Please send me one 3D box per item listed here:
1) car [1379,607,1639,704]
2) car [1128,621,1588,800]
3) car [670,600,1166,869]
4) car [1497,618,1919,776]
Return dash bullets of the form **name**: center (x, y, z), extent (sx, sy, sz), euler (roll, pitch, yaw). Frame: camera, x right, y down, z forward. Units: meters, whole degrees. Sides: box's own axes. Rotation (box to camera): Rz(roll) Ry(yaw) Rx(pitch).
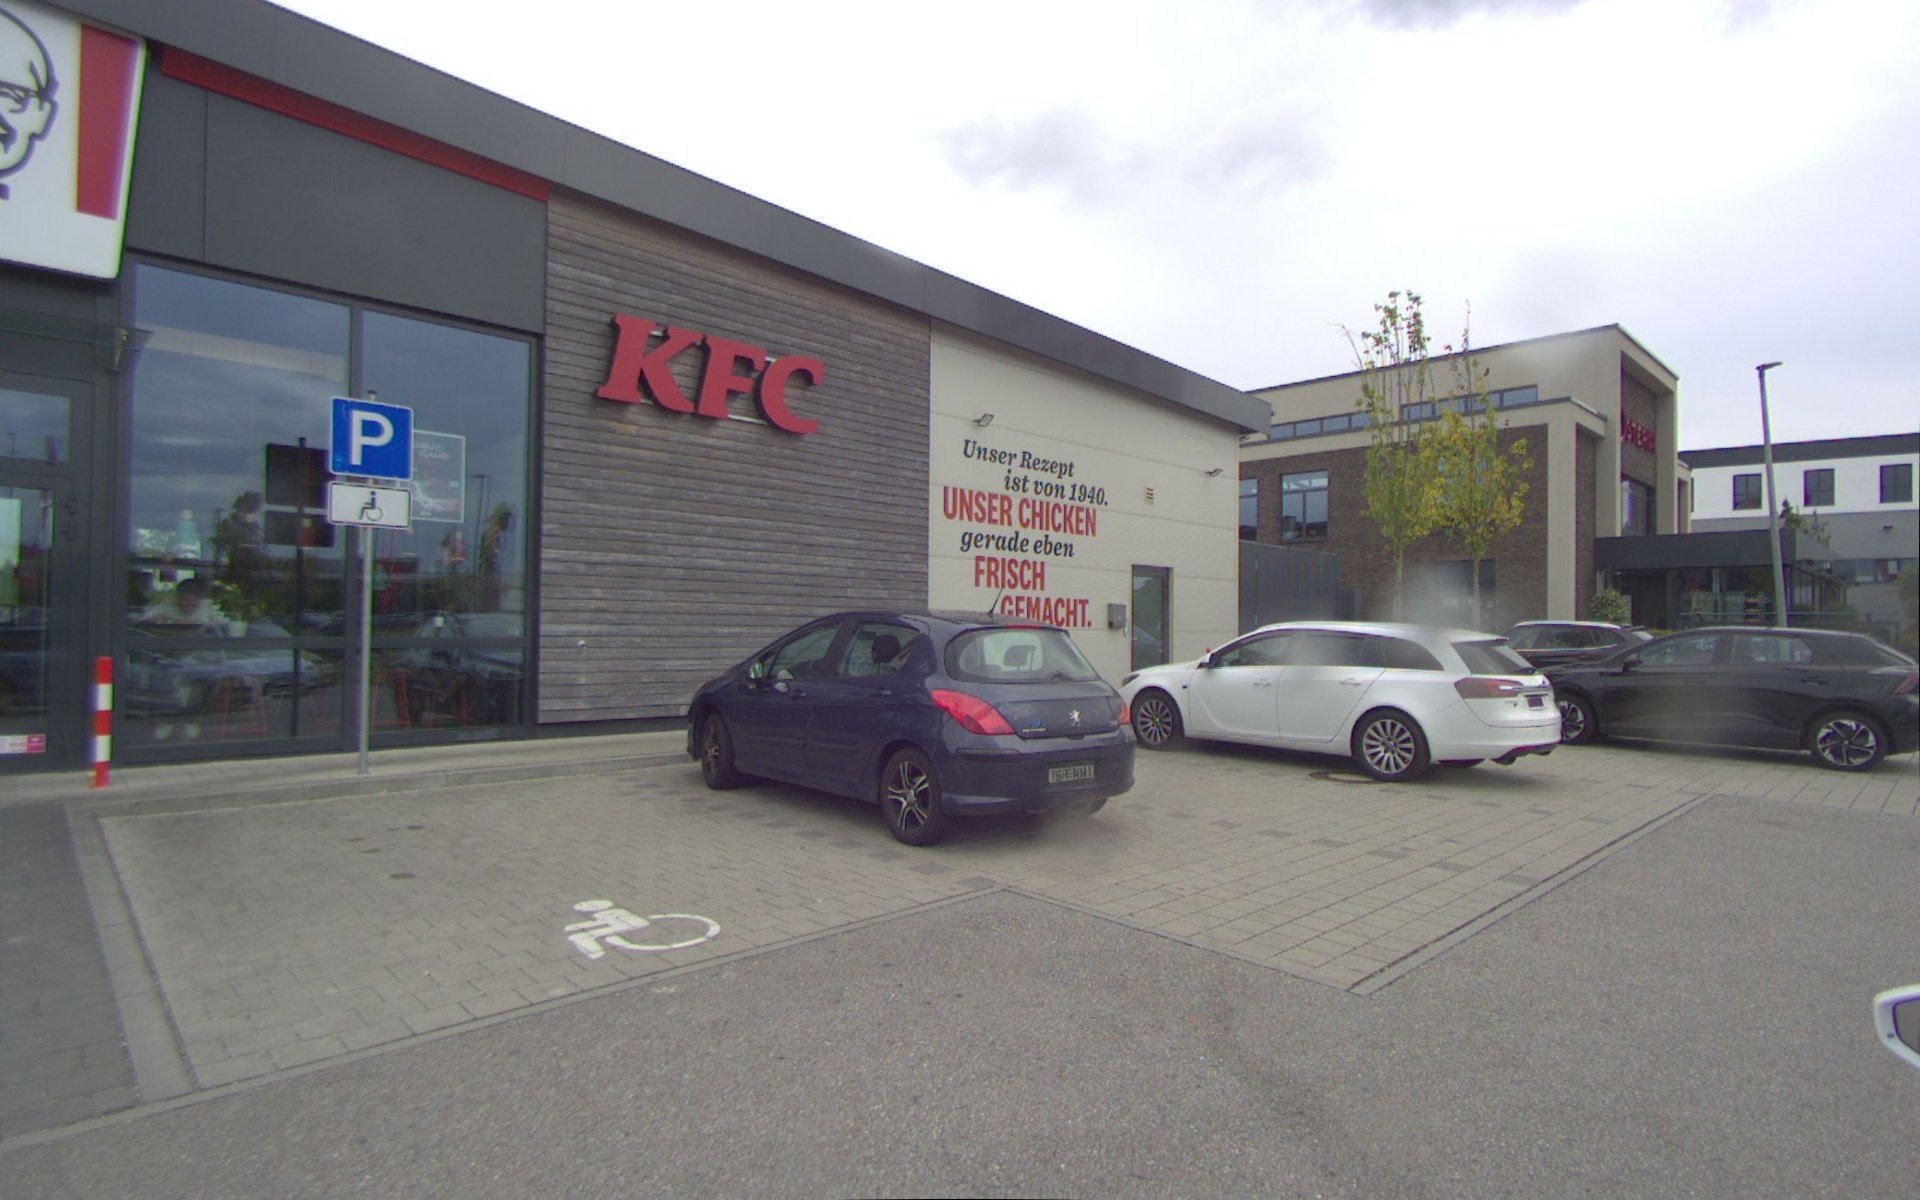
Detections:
- **car**: center (10.132, 1.042, 18.705), extent (3.942, 1.616, 1.727), euler (-3, -4, 41)
- **car**: center (4.036, 0.991, 10.690), extent (1.986, 1.505, 4.128), euler (2, -2, -42)
- **car**: center (-0.531, 0.789, 7.827), extent (1.746, 1.507, 3.889), euler (1, 0, -43)
- **car**: center (8.977, 1.025, 12.137), extent (1.729, 1.548, 4.071), euler (2, -1, -43)
